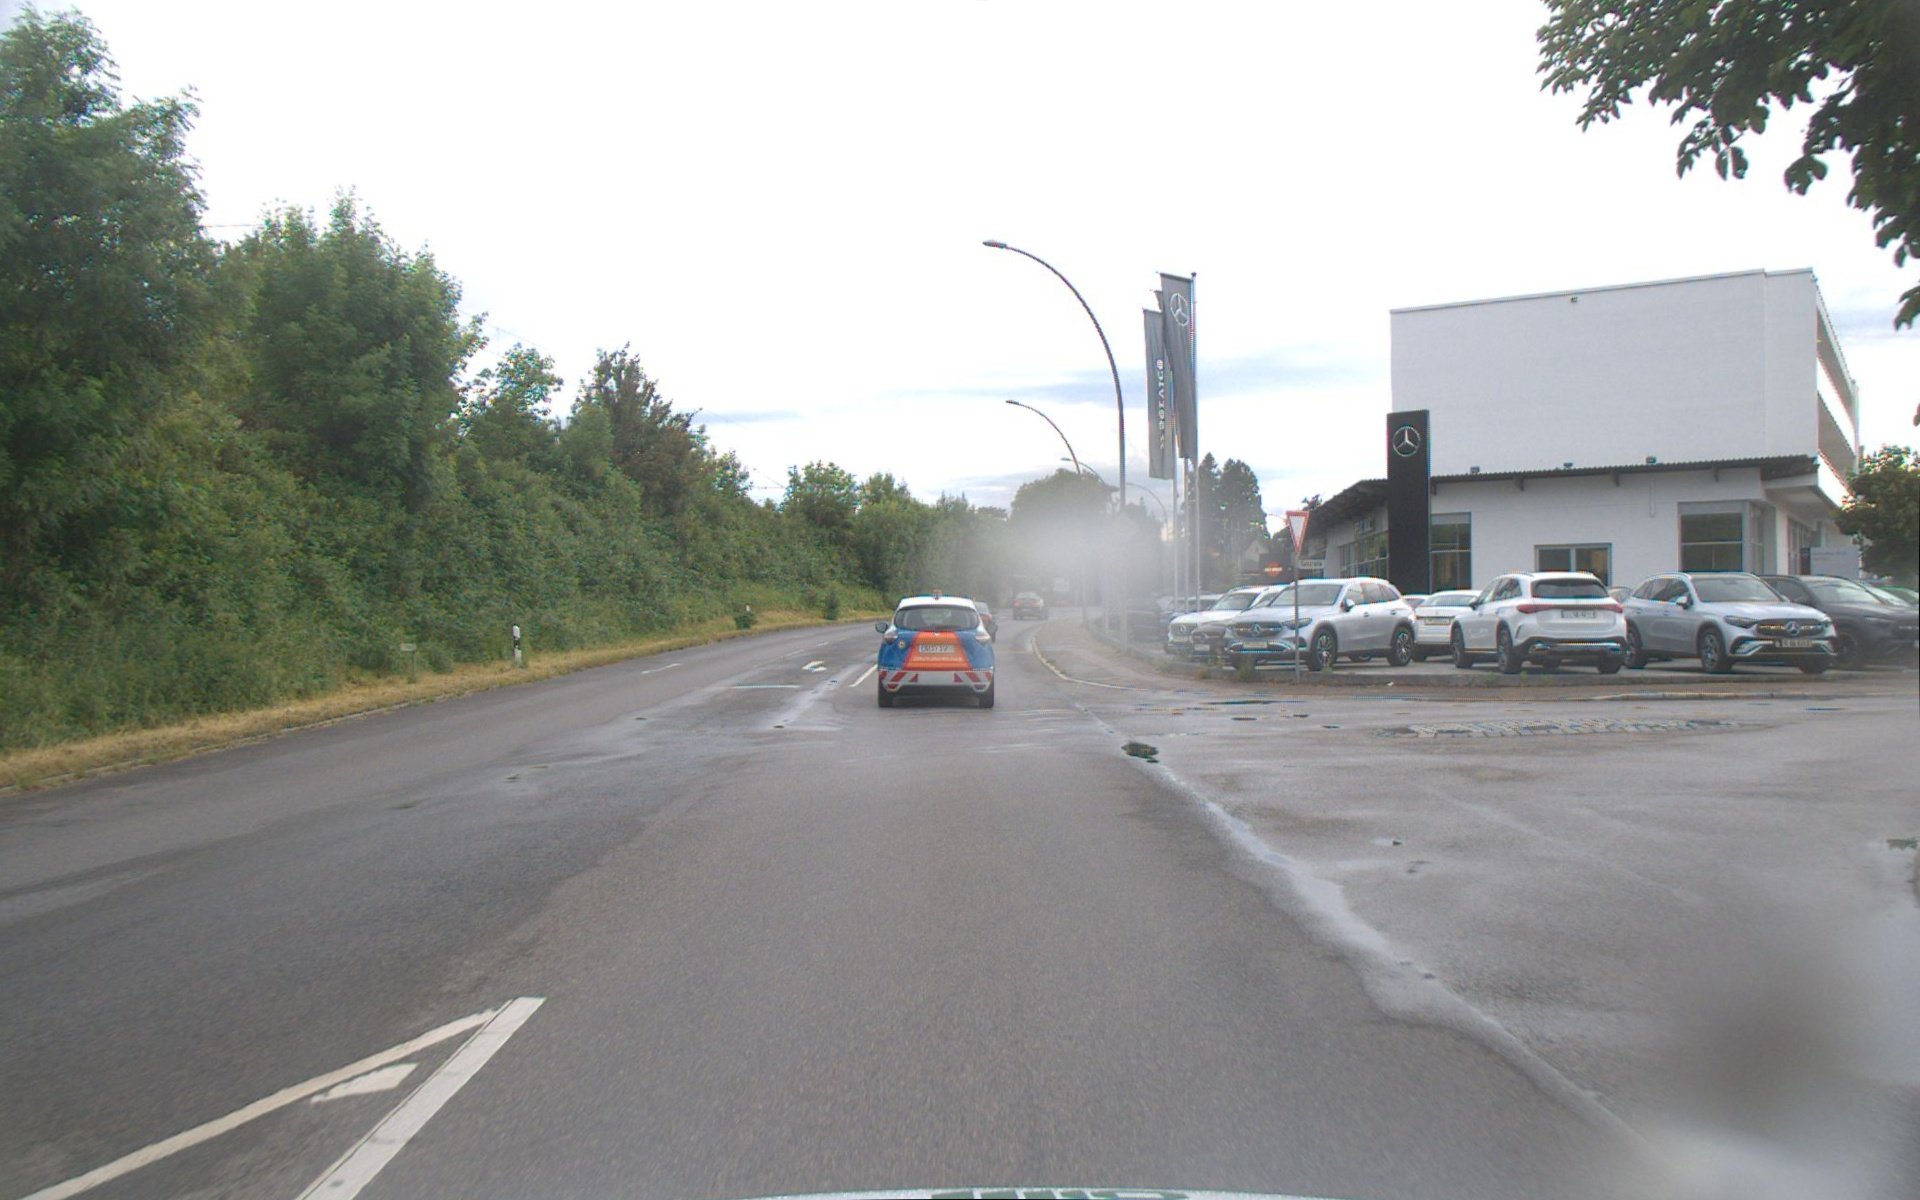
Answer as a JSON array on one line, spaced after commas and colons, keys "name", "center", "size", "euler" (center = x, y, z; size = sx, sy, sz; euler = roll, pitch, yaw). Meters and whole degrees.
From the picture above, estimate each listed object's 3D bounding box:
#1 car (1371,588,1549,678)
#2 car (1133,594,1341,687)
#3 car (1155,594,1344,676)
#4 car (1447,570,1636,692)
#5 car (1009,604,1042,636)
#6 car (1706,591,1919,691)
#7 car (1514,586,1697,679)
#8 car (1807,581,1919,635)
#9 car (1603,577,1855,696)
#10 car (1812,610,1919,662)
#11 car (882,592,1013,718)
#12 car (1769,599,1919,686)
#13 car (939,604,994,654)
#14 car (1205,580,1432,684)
[{"name": "car", "center": [10.671, 0.673, 35.113], "size": [1.896, 1.782, 4.592], "euler": [1, 0, 41]}, {"name": "car", "center": [5.749, 0.881, 33.982], "size": [2.001, 1.782, 4.586], "euler": [-2, -3, 44]}, {"name": "car", "center": [6.781, 0.853, 38.500], "size": [4.571, 1.782, 1.782], "euler": [3, -3, -38]}, {"name": "car", "center": [9.800, 0.533, 28.218], "size": [1.788, 1.861, 4.264], "euler": [2, -1, 2]}, {"name": "car", "center": [4.002, 1.224, 100.270], "size": [1.658, 1.822, 3.858], "euler": [2, -1, 7]}, {"name": "car", "center": [15.643, 0.736, 29.912], "size": [1.620, 1.631, 4.607], "euler": [2, -1, -10]}, {"name": "car", "center": [13.320, 0.657, 33.990], "size": [1.899, 1.782, 4.586], "euler": [1, -1, 44]}, {"name": "car", "center": [28.122, 0.256, 50.909], "size": [3.582, 1.522, 1.654], "euler": [1, -1, 25]}, {"name": "car", "center": [12.828, 0.615, 27.953], "size": [1.898, 1.782, 4.615], "euler": [2, -1, -3]}, {"name": "car", "center": [26.499, 1.042, 47.514], "size": [3.584, 1.400, 1.653], "euler": [1, -1, 28]}, {"name": "car", "center": [-0.215, 0.805, 24.925], "size": [1.769, 1.697, 3.854], "euler": [2, -1, -1]}, {"name": "car", "center": [18.269, 0.846, 32.772], "size": [1.620, 1.631, 4.607], "euler": [2, -1, -10]}, {"name": "car", "center": [0.270, 1.026, 57.487], "size": [1.658, 1.623, 3.857], "euler": [2, -1, 3]}, {"name": "car", "center": [6.728, 0.622, 30.739], "size": [2.001, 1.782, 4.586], "euler": [1, -2, 44]}]
